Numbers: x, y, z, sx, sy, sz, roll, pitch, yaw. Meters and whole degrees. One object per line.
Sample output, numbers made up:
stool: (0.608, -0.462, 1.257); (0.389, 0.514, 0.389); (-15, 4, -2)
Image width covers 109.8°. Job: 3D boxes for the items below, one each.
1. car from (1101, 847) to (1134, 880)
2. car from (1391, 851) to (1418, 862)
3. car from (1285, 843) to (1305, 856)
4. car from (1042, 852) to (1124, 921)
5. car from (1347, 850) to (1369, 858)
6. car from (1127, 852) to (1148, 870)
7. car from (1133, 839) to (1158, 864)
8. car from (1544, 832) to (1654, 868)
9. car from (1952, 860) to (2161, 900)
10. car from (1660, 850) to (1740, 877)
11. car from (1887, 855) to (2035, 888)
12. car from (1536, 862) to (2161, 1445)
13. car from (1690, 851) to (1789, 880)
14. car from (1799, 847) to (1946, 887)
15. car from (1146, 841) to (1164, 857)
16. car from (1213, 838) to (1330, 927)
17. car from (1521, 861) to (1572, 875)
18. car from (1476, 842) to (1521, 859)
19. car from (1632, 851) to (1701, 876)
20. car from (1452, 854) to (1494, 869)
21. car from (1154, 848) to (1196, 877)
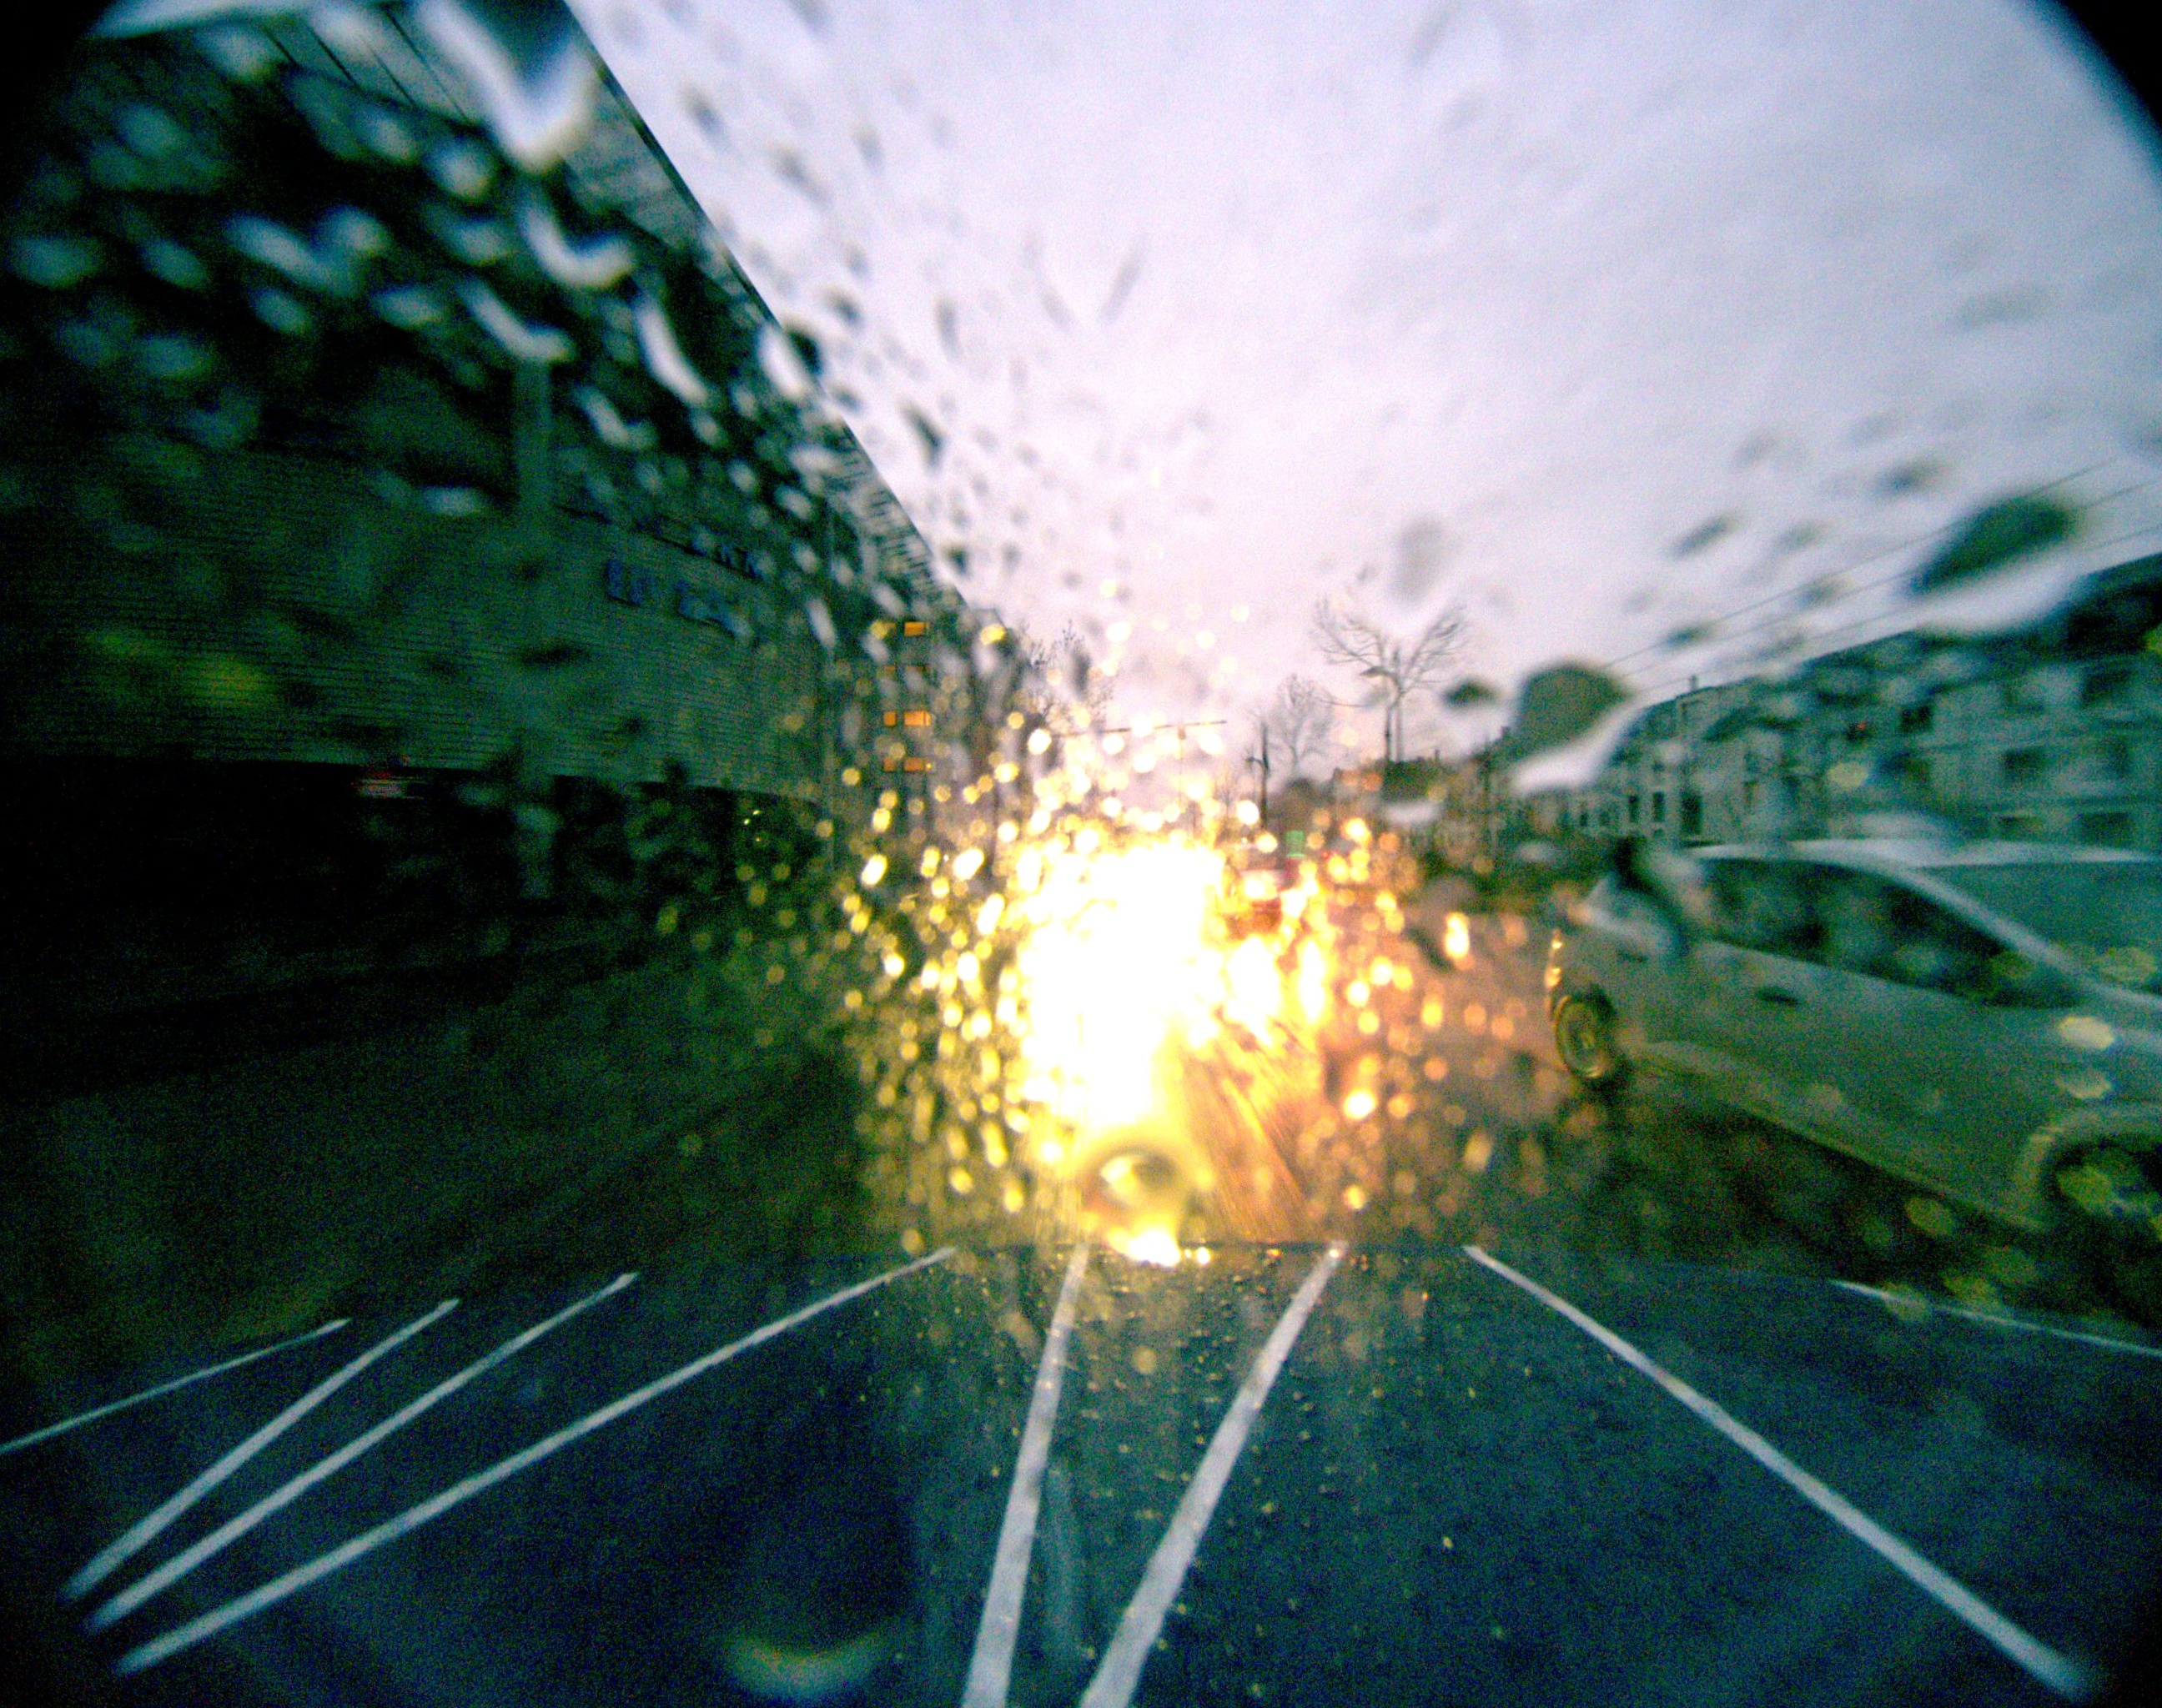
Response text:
car: (1.969, 0.483, 41.289); (1.654, 1.673, 3.685); (-2, 0, 3)
car: (37.790, 0.281, 88.756); (2.626, 1.100, 1.255); (-1, 1, 6)
car: (33.013, -0.691, 117.069); (1.998, 2.002, 3.999); (-2, 1, 1)
car: (0.147, 0.726, 18.734); (1.756, 1.418, 3.804); (-1, 1, 3)
car: (37.269, 0.026, 102.322); (2.565, 0.981, 1.257); (-1, 2, 33)
car: (4.717, 0.545, 63.920); (1.595, 1.428, 3.805); (-2, 0, 3)
car: (4.788, -0.240, 56.398); (1.729, 1.730, 4.055); (-1, 1, 5)
car: (34.121, -0.255, 50.157); (5.892, 2.242, 1.825); (0, 2, 37)
car: (31.430, 0.788, 24.373); (4.393, 1.125, 1.250); (0, 2, 37)
car: (32.946, 0.513, 40.533); (3.198, 1.376, 1.316); (-1, 0, 35)
car: (31.819, 0.606, 27.591); (3.305, 1.125, 1.316); (1, 1, 38)
car: (3.807, 0.842, 2.979); (1.712, 1.457, 3.999); (-2, 1, 1)
car: (32.396, 0.557, 37.514); (3.599, 1.376, 1.316); (-1, 0, 37)
car: (31.909, 0.490, 30.793); (4.001, 1.496, 1.316); (0, 2, 39)
car: (7.855, -0.529, 80.890); (1.728, 1.646, 3.644); (-2, 1, 3)
car: (4.019, 0.517, 16.668); (2.020, 1.667, 4.001); (-1, 1, 7)
car: (34.395, 1.055, 56.187); (3.100, 1.000, 1.189); (-1, 0, 38)
car: (34.850, -0.282, 63.409); (3.197, 1.309, 1.554); (-1, 2, 34)
car: (33.459, 0.539, 43.479); (3.100, 1.376, 1.316); (-1, 0, 38)
car: (35.646, 0.719, 69.178); (3.197, 1.309, 1.554); (-1, 2, 36)
car: (5.109, 0.438, 41.660); (1.975, 1.492, 4.092); (-2, 0, 3)
